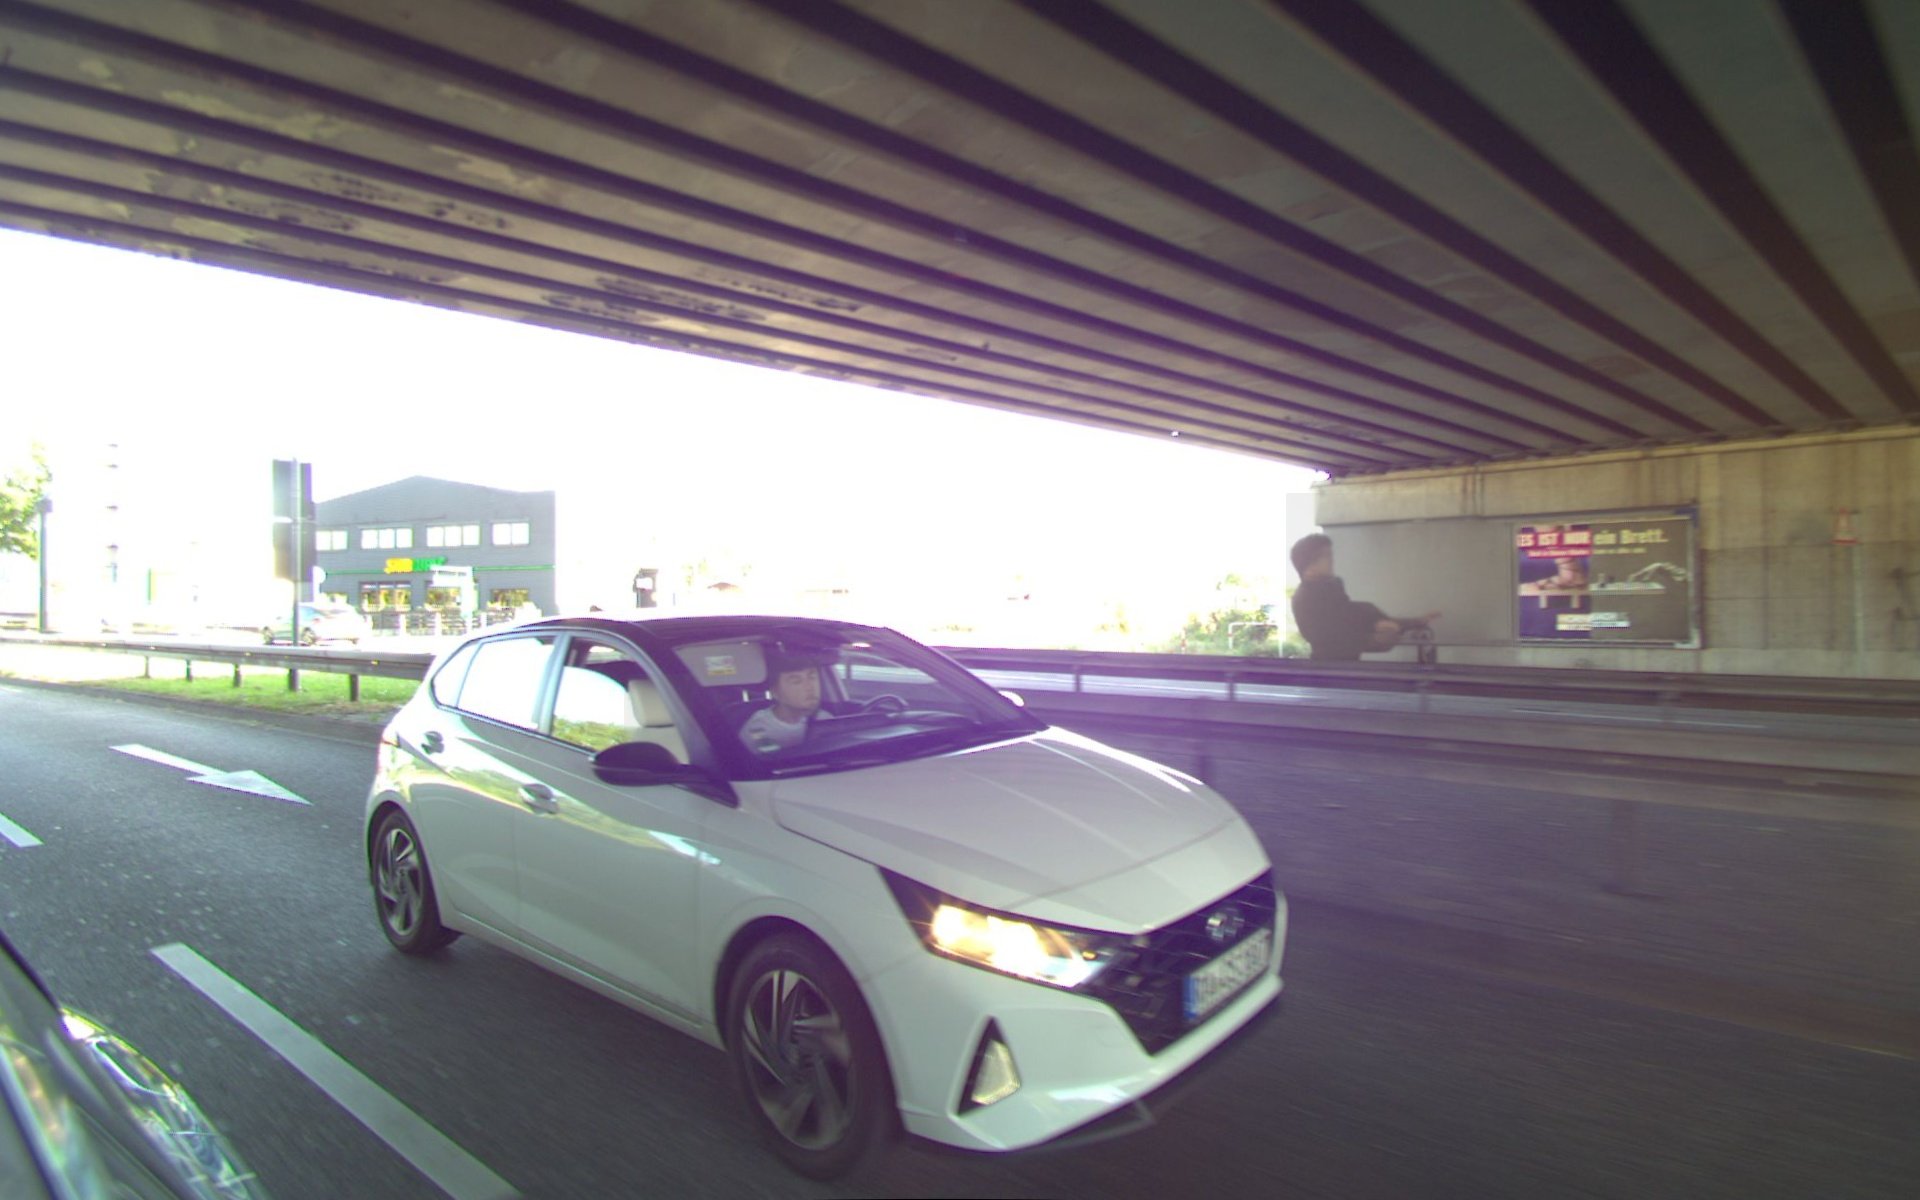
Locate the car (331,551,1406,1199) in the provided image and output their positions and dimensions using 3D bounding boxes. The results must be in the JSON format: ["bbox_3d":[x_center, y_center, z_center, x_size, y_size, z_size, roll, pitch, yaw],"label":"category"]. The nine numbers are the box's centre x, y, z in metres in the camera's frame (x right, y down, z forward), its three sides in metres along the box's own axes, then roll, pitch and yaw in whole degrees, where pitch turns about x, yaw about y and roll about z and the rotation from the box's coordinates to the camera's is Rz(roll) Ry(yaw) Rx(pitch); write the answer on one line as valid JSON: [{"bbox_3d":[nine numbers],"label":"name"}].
[{"bbox_3d":[-0.688,0.678,3.780,3.988,1.491,1.715,-1,-1,41],"label":"car"}]

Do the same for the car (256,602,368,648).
[{"bbox_3d":[-22.437,0.864,35.007,3.807,1.531,1.608,-1,-2,28],"label":"car"}]

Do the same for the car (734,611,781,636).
[{"bbox_3d":[-11.803,1.390,59.193,1.805,1.291,4.181,1,-3,1],"label":"car"}]
